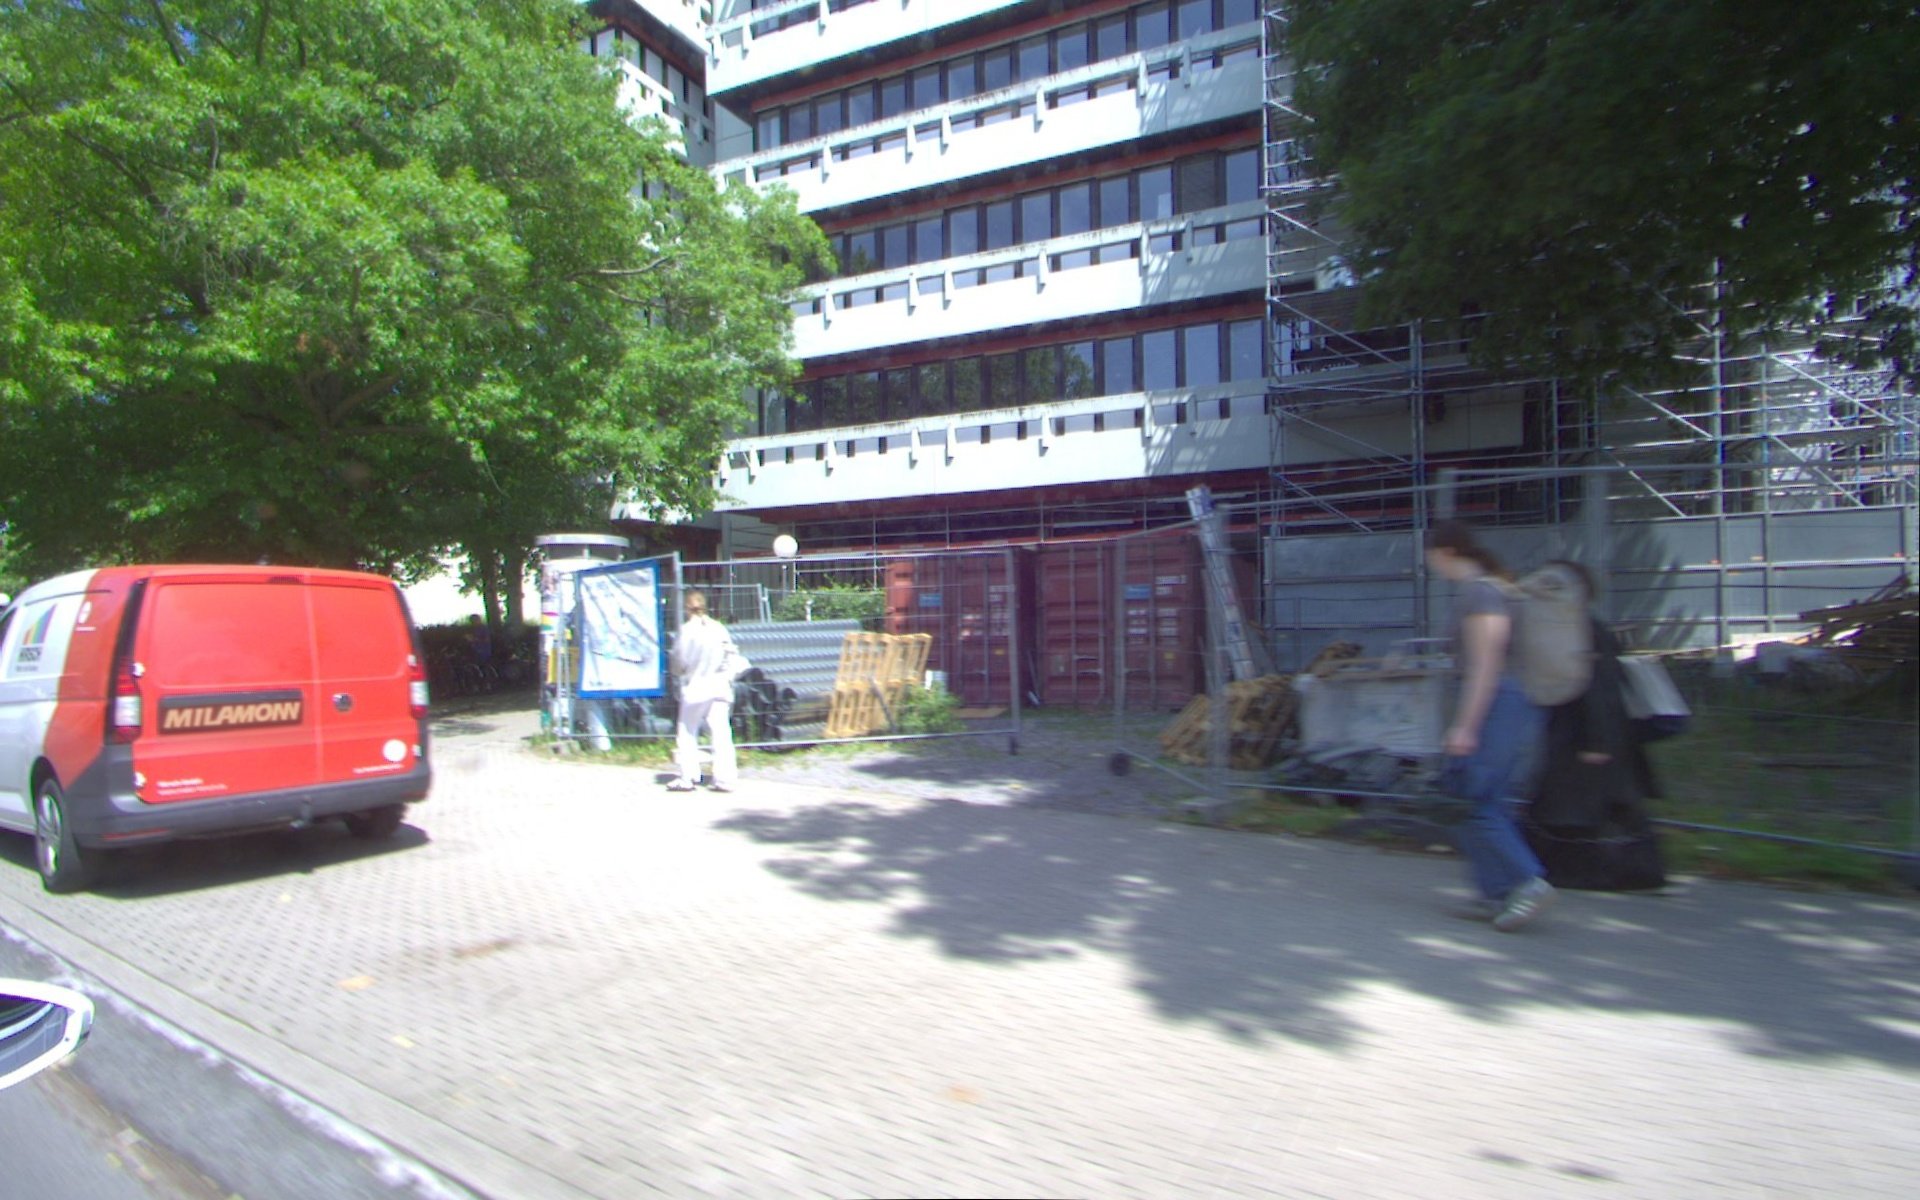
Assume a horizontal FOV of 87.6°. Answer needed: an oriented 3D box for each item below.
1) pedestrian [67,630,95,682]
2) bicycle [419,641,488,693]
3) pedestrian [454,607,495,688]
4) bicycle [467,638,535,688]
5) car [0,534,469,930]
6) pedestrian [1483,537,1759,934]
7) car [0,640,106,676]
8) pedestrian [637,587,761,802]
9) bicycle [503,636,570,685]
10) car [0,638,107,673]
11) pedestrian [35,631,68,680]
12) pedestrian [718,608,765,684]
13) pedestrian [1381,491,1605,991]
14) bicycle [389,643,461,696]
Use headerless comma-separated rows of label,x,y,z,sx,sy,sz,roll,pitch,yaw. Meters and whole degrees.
pedestrian,-32.724,2.058,37.277,0.665,1.897,0.787,-1,-1,-35
bicycle,-11.601,1.524,22.937,1.845,1.133,0.497,-2,-1,31
pedestrian,-11.362,1.108,23.429,0.751,1.861,0.542,-1,-1,32
bicycle,-10.965,1.496,23.897,1.845,1.133,0.497,-2,-1,31
car,-5.618,0.703,7.010,4.826,1.916,1.843,-2,-1,36
pedestrian,2.999,0.567,4.623,0.971,1.621,0.667,-1,0,32
car,-44.719,2.819,48.946,4.453,1.545,1.794,-1,-1,-43
pedestrian,-2.138,0.742,8.211,0.704,1.653,0.708,-2,-1,45
bicycle,-10.338,1.469,24.411,1.845,1.133,0.497,-2,-1,31
car,-47.753,2.899,52.762,4.226,1.609,1.794,-1,-1,-43
pedestrian,-33.324,2.030,36.738,0.813,1.778,0.835,0,-1,-36
pedestrian,-4.861,1.023,22.321,0.710,1.656,0.831,-1,-1,14
pedestrian,2.215,0.514,4.128,0.706,1.787,0.847,-1,0,34
bicycle,-11.971,1.540,22.386,1.912,1.133,0.497,-2,-1,31
